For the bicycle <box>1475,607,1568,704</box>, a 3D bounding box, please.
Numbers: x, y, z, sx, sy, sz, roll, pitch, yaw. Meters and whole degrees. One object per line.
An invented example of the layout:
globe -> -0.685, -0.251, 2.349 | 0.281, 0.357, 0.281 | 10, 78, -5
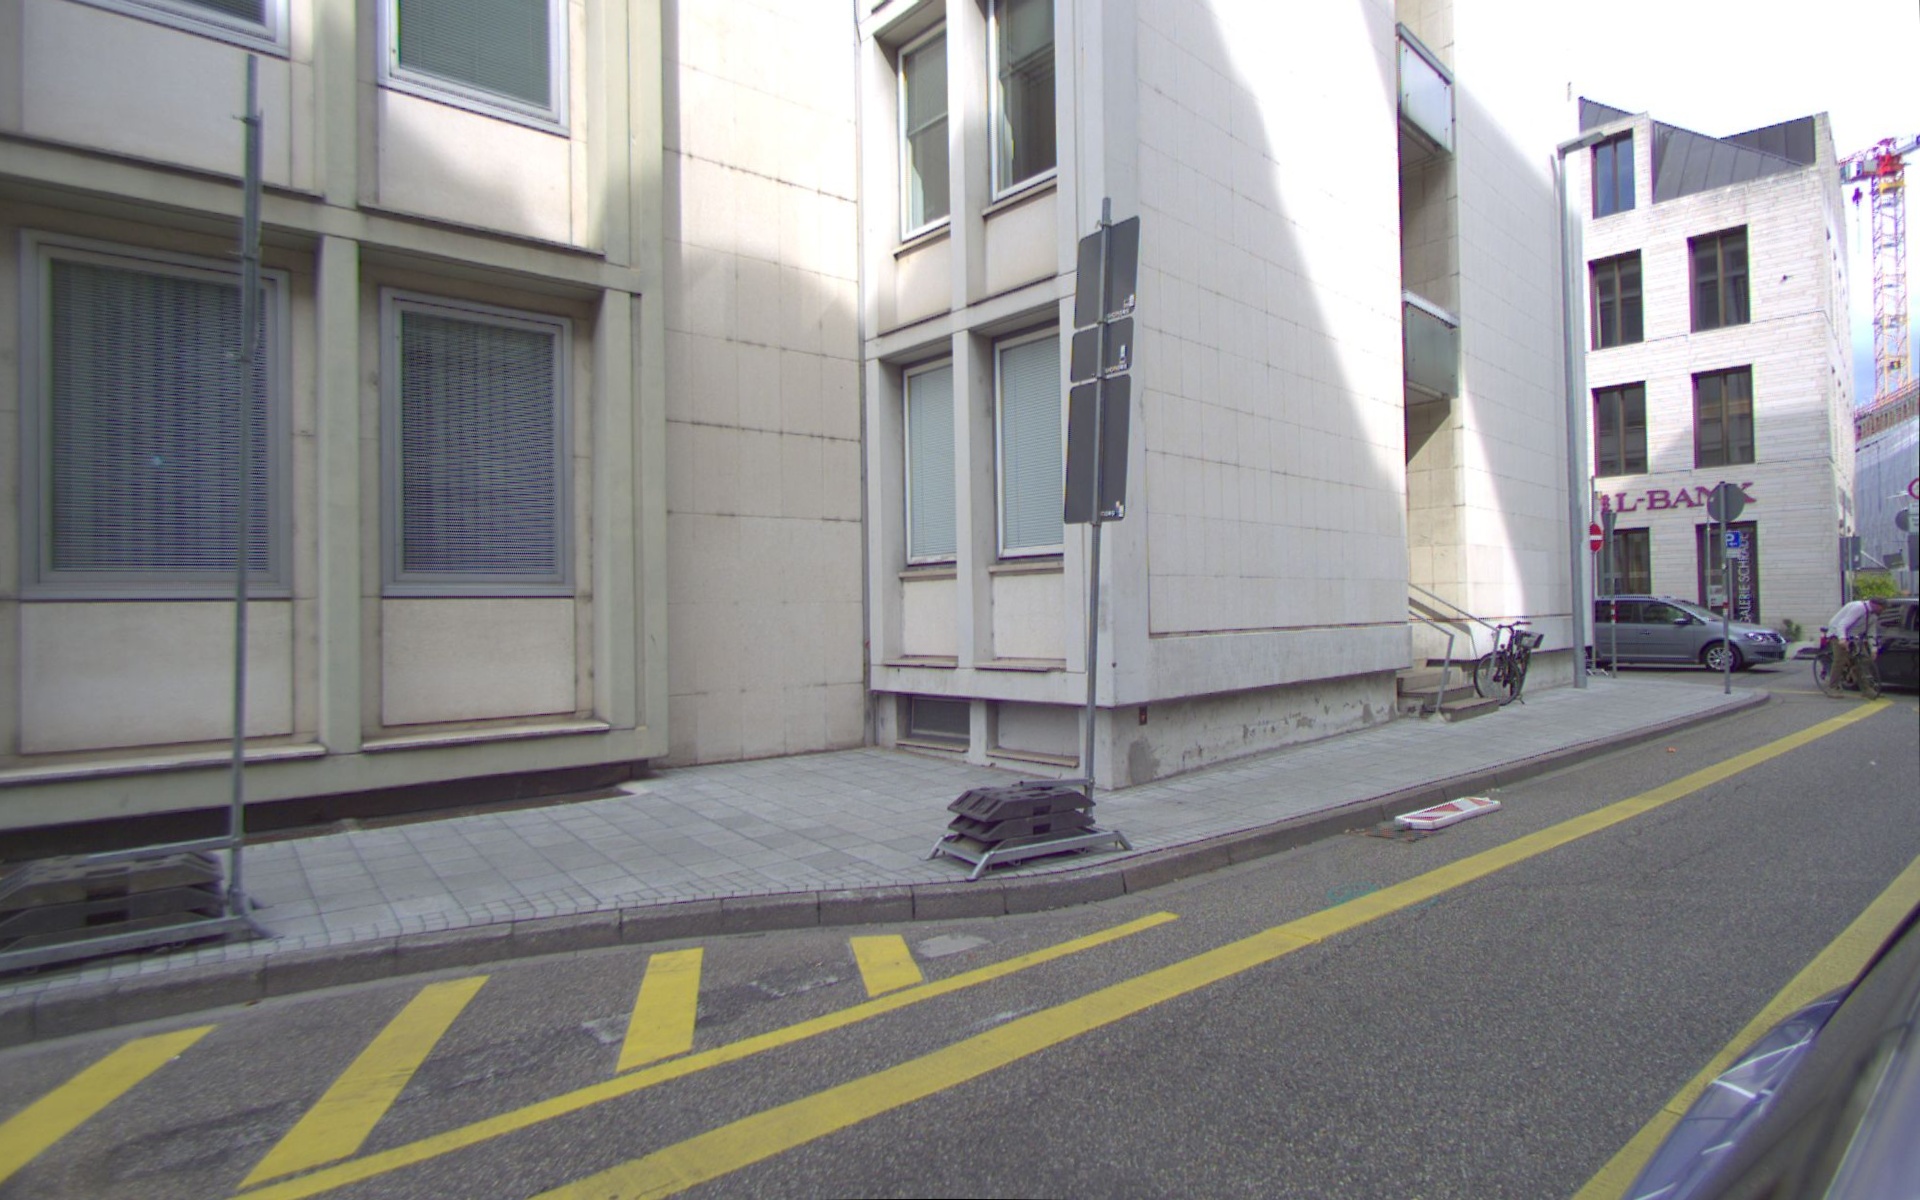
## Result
bicycle -> 7.563, 0.704, 13.590 | 1.785, 1.182, 0.589 | -1, 0, -44

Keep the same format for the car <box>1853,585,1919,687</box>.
car -> 14.856, 0.509, 14.267 | 1.691, 1.510, 3.752 | -2, 0, 12

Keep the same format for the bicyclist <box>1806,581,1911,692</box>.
bicyclist -> 13.596, 0.540, 15.343 | 0.882, 1.614, 0.871 | -1, 0, 20

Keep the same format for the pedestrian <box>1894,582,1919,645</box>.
pedestrian -> 28.162, 0.388, 29.828 | 0.859, 1.854, 0.762 | -2, -1, 44

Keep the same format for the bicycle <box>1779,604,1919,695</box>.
bicycle -> 13.627, 0.699, 15.421 | 0.860, 1.210, 2.845 | -1, 0, 20

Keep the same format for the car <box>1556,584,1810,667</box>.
car -> 15.579, 0.514, 21.990 | 1.784, 1.611, 4.188 | -1, 0, -41
